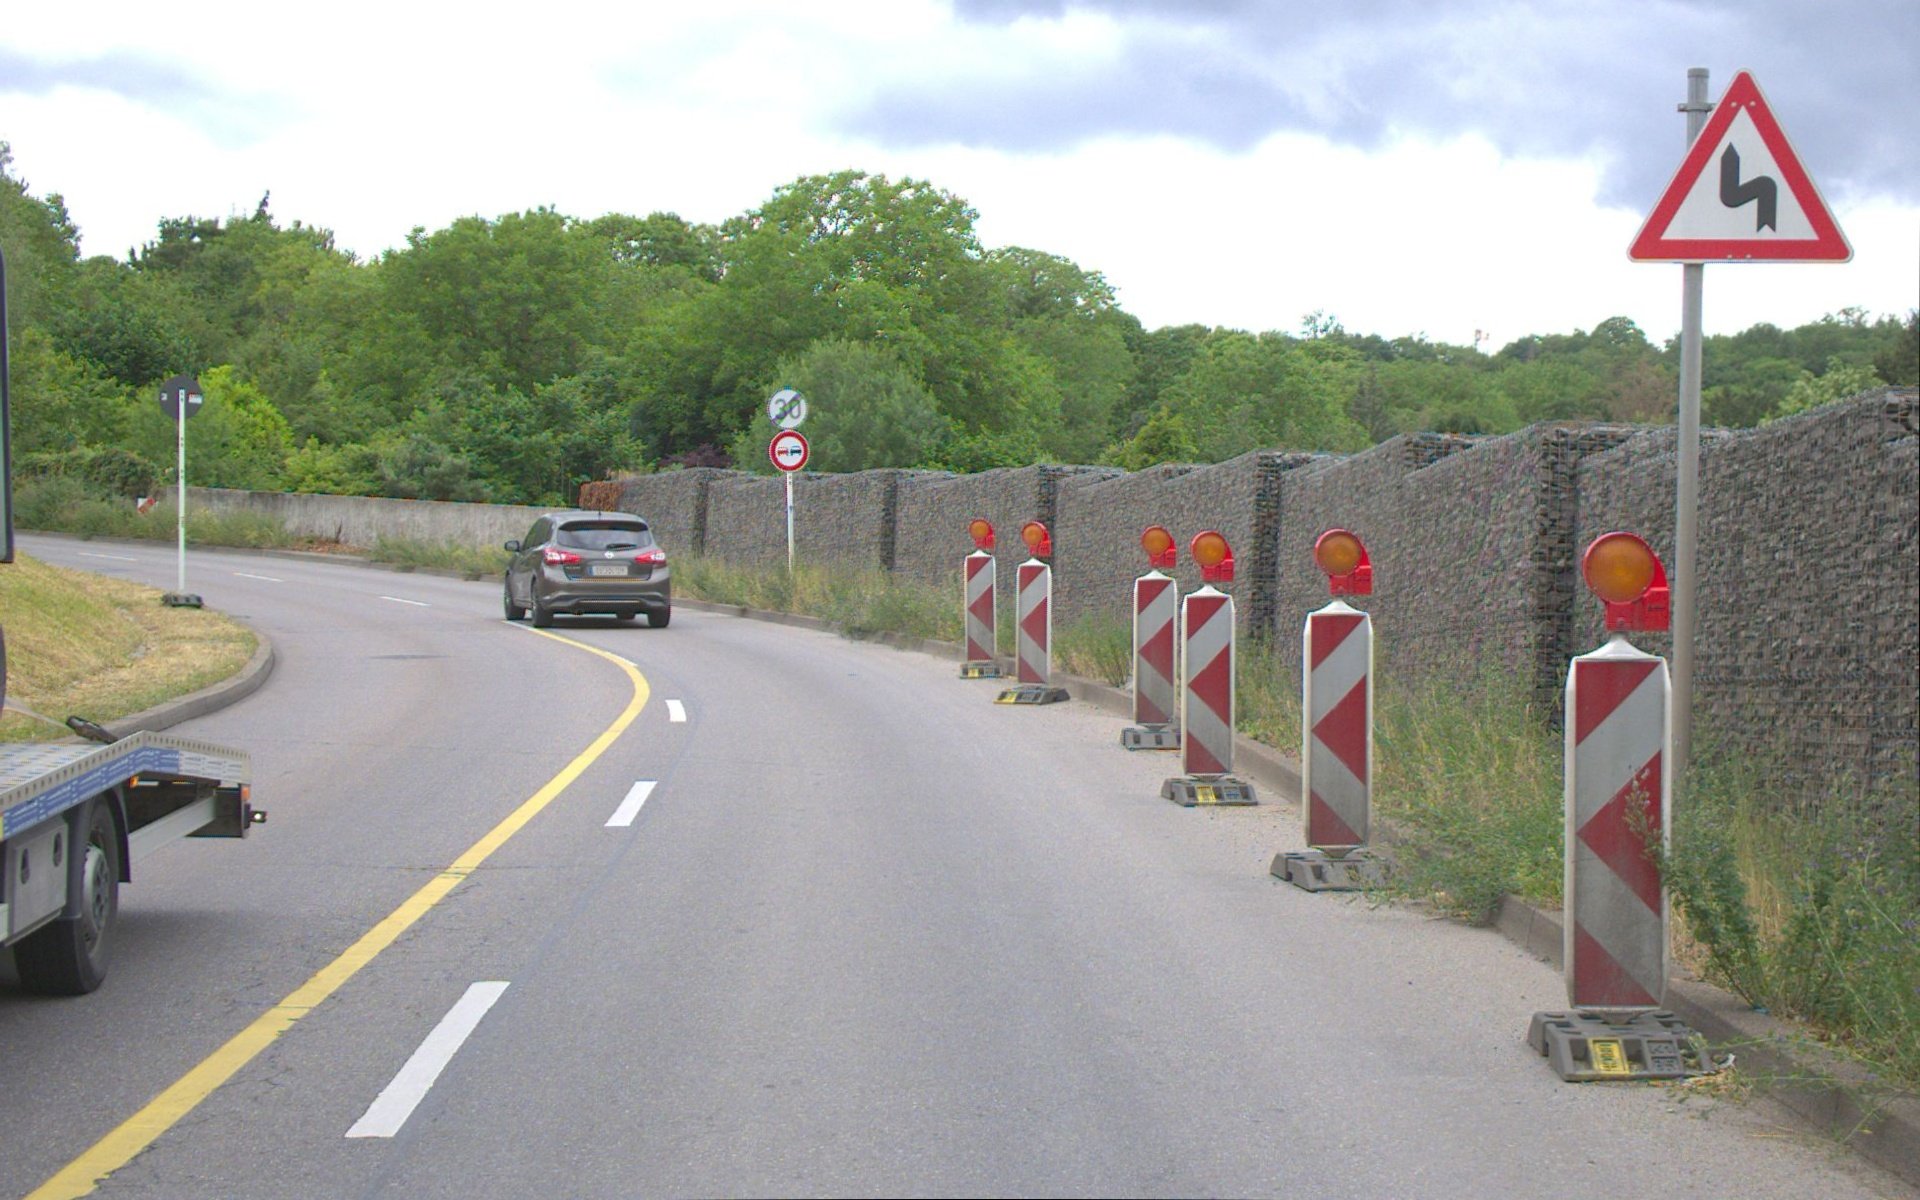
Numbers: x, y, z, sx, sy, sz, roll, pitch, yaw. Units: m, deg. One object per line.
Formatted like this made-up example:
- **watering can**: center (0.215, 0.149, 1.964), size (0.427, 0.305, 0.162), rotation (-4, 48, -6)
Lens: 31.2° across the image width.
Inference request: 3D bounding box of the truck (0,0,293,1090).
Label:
- **truck**: center (-3.711, -0.195, 9.912), size (2.215, 3.004, 7.740), rotation (0, 1, -1)

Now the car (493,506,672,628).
- **car**: center (-5.096, -0.478, 45.990), size (1.839, 1.478, 4.002), rotation (0, 2, -14)
